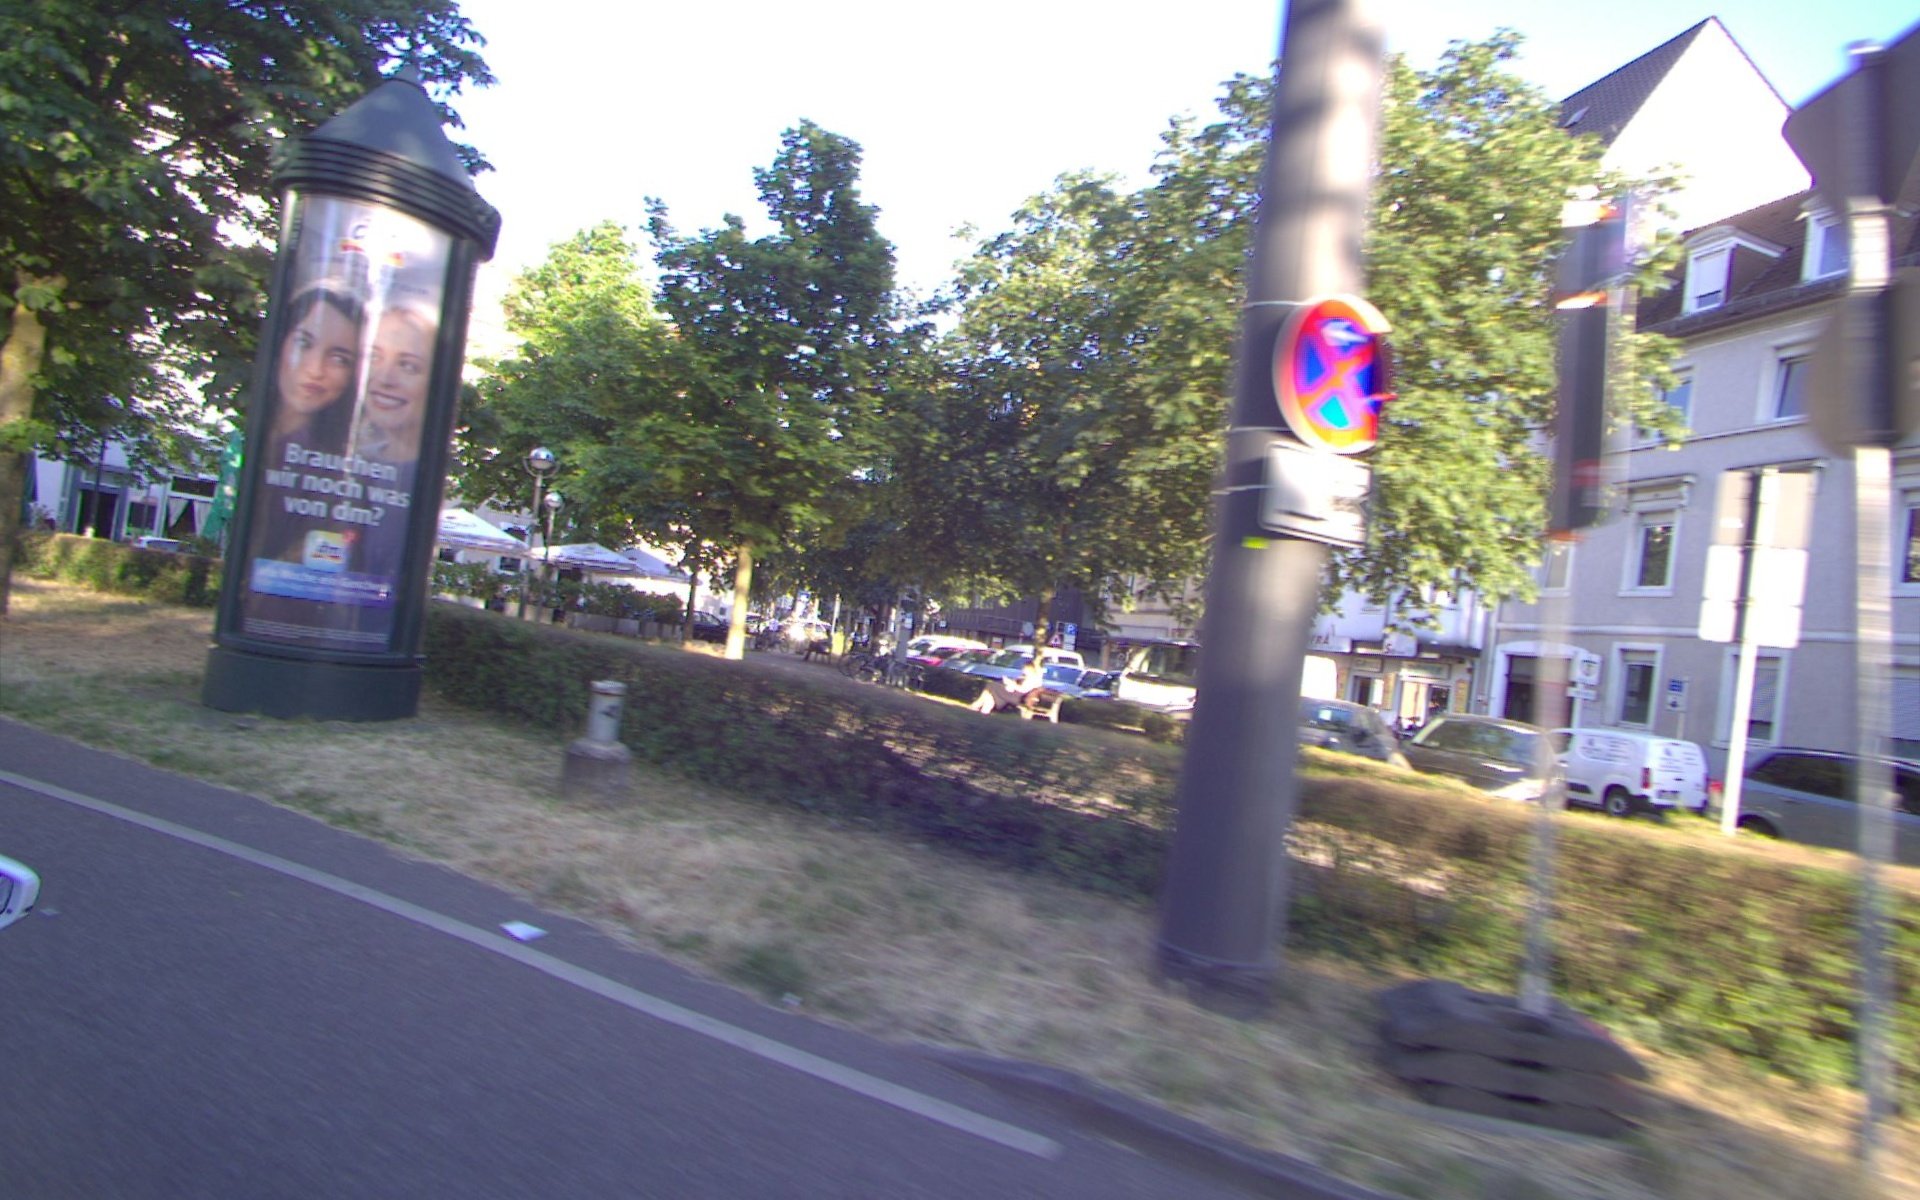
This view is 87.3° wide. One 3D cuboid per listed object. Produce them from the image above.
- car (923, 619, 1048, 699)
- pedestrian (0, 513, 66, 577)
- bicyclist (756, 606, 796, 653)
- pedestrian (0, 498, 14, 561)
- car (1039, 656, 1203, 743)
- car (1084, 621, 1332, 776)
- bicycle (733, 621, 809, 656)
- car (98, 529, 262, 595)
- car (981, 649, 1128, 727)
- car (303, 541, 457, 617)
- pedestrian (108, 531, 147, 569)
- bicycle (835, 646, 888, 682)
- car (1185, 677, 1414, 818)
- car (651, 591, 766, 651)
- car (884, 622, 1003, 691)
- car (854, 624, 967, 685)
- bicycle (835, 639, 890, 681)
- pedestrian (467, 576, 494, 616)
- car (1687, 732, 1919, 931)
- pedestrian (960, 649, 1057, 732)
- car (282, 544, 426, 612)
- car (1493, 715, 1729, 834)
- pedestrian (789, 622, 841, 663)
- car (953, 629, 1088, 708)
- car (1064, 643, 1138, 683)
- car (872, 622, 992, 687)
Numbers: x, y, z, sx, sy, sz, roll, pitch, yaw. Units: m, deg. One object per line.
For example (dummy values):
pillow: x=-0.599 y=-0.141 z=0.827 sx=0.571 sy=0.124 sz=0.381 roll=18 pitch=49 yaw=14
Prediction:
car: x=0.896 y=1.940 z=32.291 sx=1.968 sy=2.035 sz=3.996 roll=7 pitch=-3 yaw=34
pedestrian: x=-21.007 y=-1.232 z=22.829 sx=0.657 sy=1.254 sz=0.946 roll=13 pitch=-5 yaw=-27
bicyclist: x=-8.335 y=1.334 z=45.526 sx=1.239 sy=1.938 sz=0.975 roll=10 pitch=-2 yaw=-38
pedestrian: x=-21.485 y=-1.597 z=22.043 sx=0.723 sy=1.371 sz=1.009 roll=7 pitch=-2 yaw=-27
car: x=3.577 y=2.200 z=21.689 sx=1.967 sy=1.413 sz=3.997 roll=7 pitch=-4 yaw=32
car: x=4.754 y=1.913 z=18.767 sx=2.068 sy=2.265 sz=4.859 roll=6 pitch=-4 yaw=45
bicycle: x=-8.502 y=1.745 z=45.411 sx=3.174 sy=1.144 sz=0.975 roll=11 pitch=-3 yaw=-39
car: x=-28.420 y=-1.370 z=36.722 sx=4.486 sy=1.635 sz=2.000 roll=11 pitch=-4 yaw=-42
car: x=2.477 y=2.266 z=25.395 sx=1.967 sy=1.502 sz=3.997 roll=7 pitch=-4 yaw=32
car: x=-21.031 y=-0.740 z=36.578 sx=4.408 sy=2.036 sz=1.978 roll=10 pitch=-3 yaw=-40
pedestrian: x=-31.838 y=-1.910 z=38.487 sx=1.021 sy=1.259 sz=0.679 roll=9 pitch=-2 yaw=-41
bicycle: x=-2.637 y=1.711 z=26.962 sx=1.257 sy=0.788 sz=0.444 roll=8 pitch=-2 yaw=-19
car: x=5.311 y=2.259 z=15.410 sx=1.924 sy=1.621 sz=3.989 roll=6 pitch=-4 yaw=39
car: x=-11.242 y=0.965 z=45.180 sx=4.408 sy=2.036 sz=1.978 roll=10 pitch=-3 yaw=-40
car: x=-0.489 y=1.965 z=34.380 sx=1.883 sy=1.792 sz=3.993 roll=6 pitch=-4 yaw=36
car: x=-1.996 y=2.186 z=40.470 sx=3.952 sy=1.792 sz=1.903 roll=10 pitch=-3 yaw=-24
bicycle: x=-2.848 y=1.747 z=29.293 sx=1.451 sy=1.007 sz=0.324 roll=8 pitch=-1 yaw=-13
pedestrian: x=-14.486 y=-0.110 z=30.378 sx=0.550 sy=1.129 sz=0.492 roll=8 pitch=-2 yaw=-21
car: x=10.912 y=2.698 z=11.022 sx=1.966 sy=1.790 sz=4.710 roll=9 pitch=-3 yaw=-6
pedestrian: x=0.849 y=1.590 z=17.878 sx=1.350 sy=1.239 sz=0.959 roll=9 pitch=-2 yaw=-14
car: x=-24.396 y=-0.852 z=40.591 sx=4.486 sy=1.985 sz=2.000 roll=11 pitch=-4 yaw=-42
car: x=14.178 y=3.753 z=22.214 sx=1.922 sy=1.907 sz=3.990 roll=6 pitch=-2 yaw=-16
pedestrian: x=-5.194 y=1.528 z=35.994 sx=1.426 sy=1.263 sz=1.035 roll=8 pitch=-2 yaw=11
car: x=1.808 y=2.002 z=28.726 sx=1.968 sy=1.724 sz=3.996 roll=7 pitch=-4 yaw=34
car: x=6.668 y=2.971 z=47.935 sx=1.922 sy=1.513 sz=3.990 roll=6 pitch=-2 yaw=-16
car: x=-1.008 y=2.063 z=37.579 sx=3.970 sy=1.792 sz=1.894 roll=11 pitch=-4 yaw=-37
